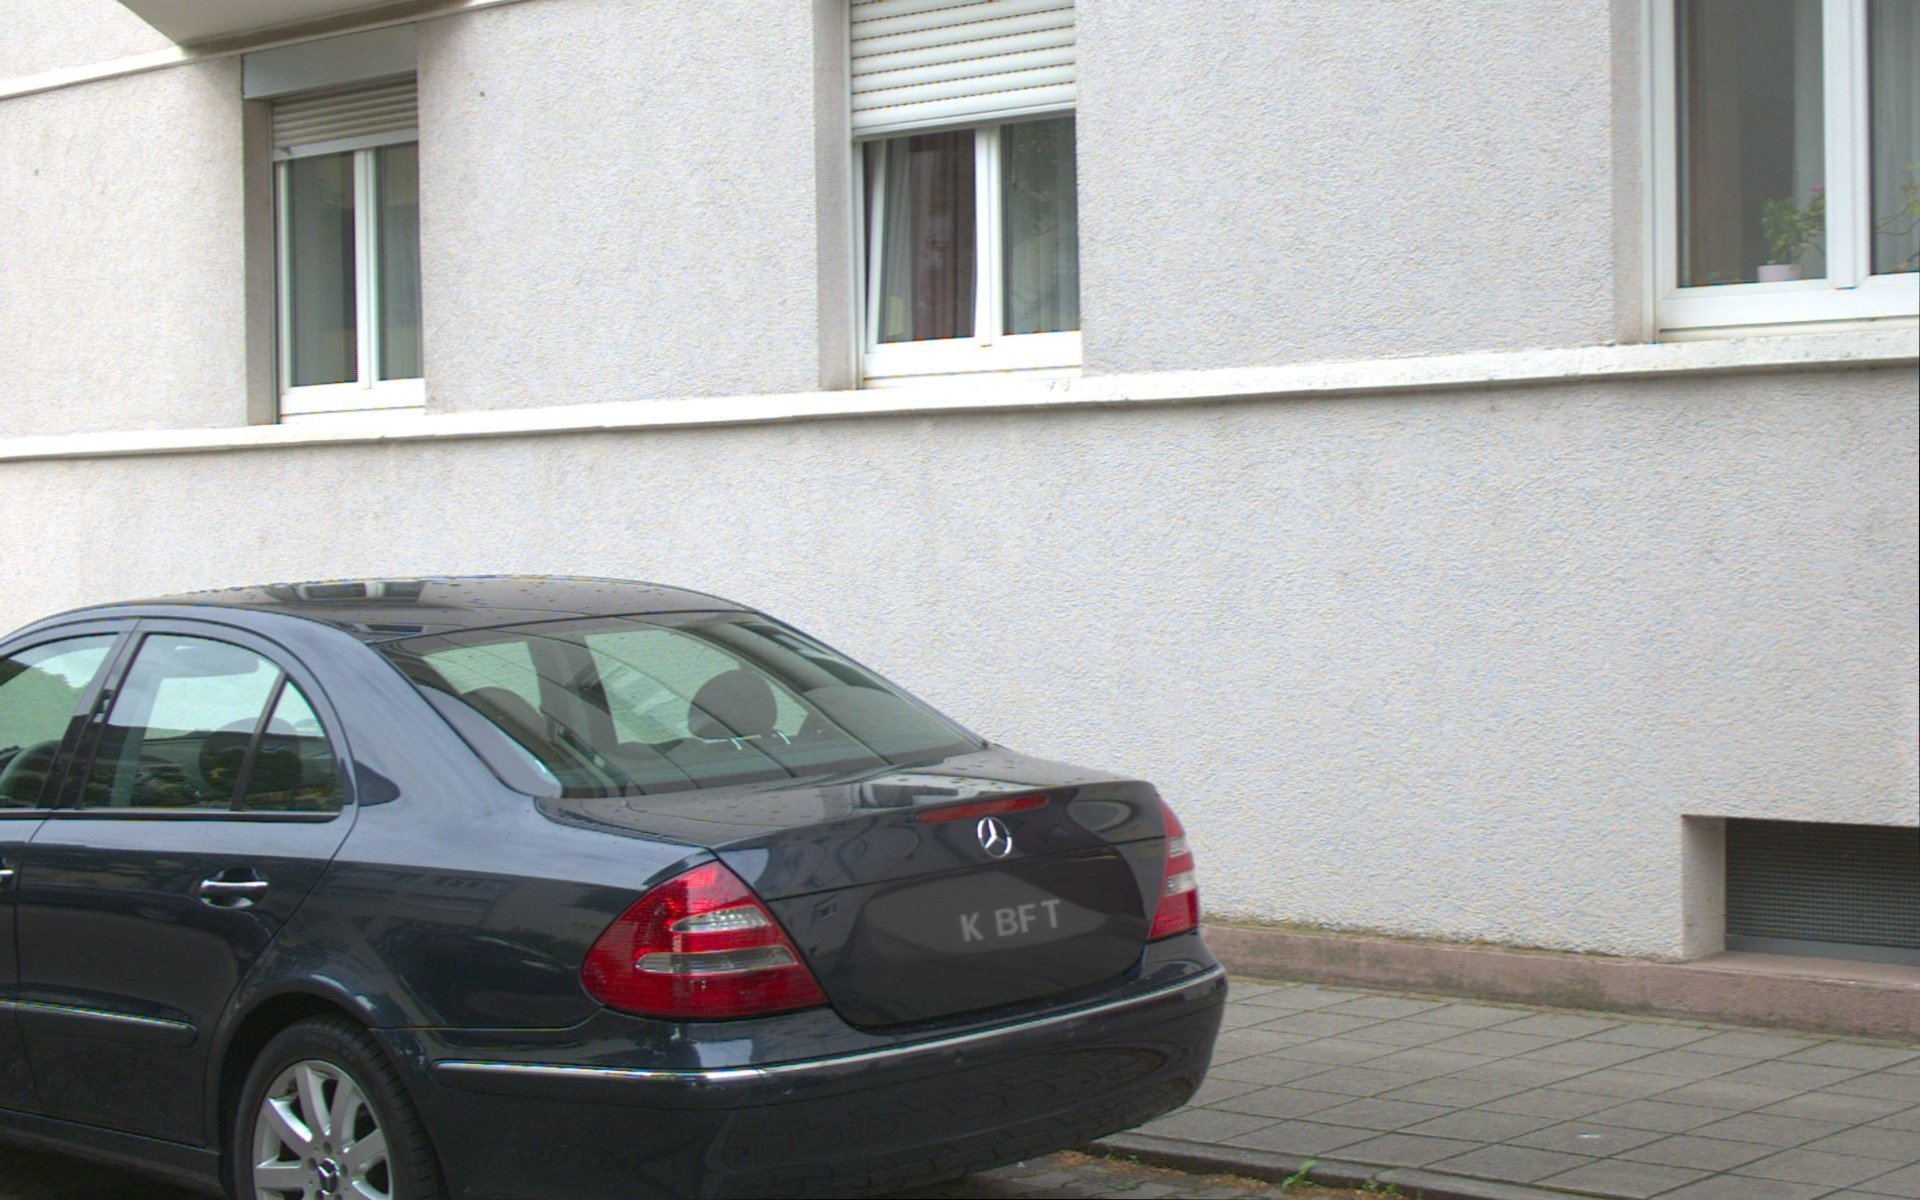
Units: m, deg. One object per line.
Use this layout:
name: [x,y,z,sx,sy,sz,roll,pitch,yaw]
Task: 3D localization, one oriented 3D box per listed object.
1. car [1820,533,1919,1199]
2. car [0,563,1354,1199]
car: [3.185,0.681,3.628,4.076,1.520,1.758,1,3,43]
car: [-1.601,0.675,8.082,4.946,1.416,1.746,1,3,43]
